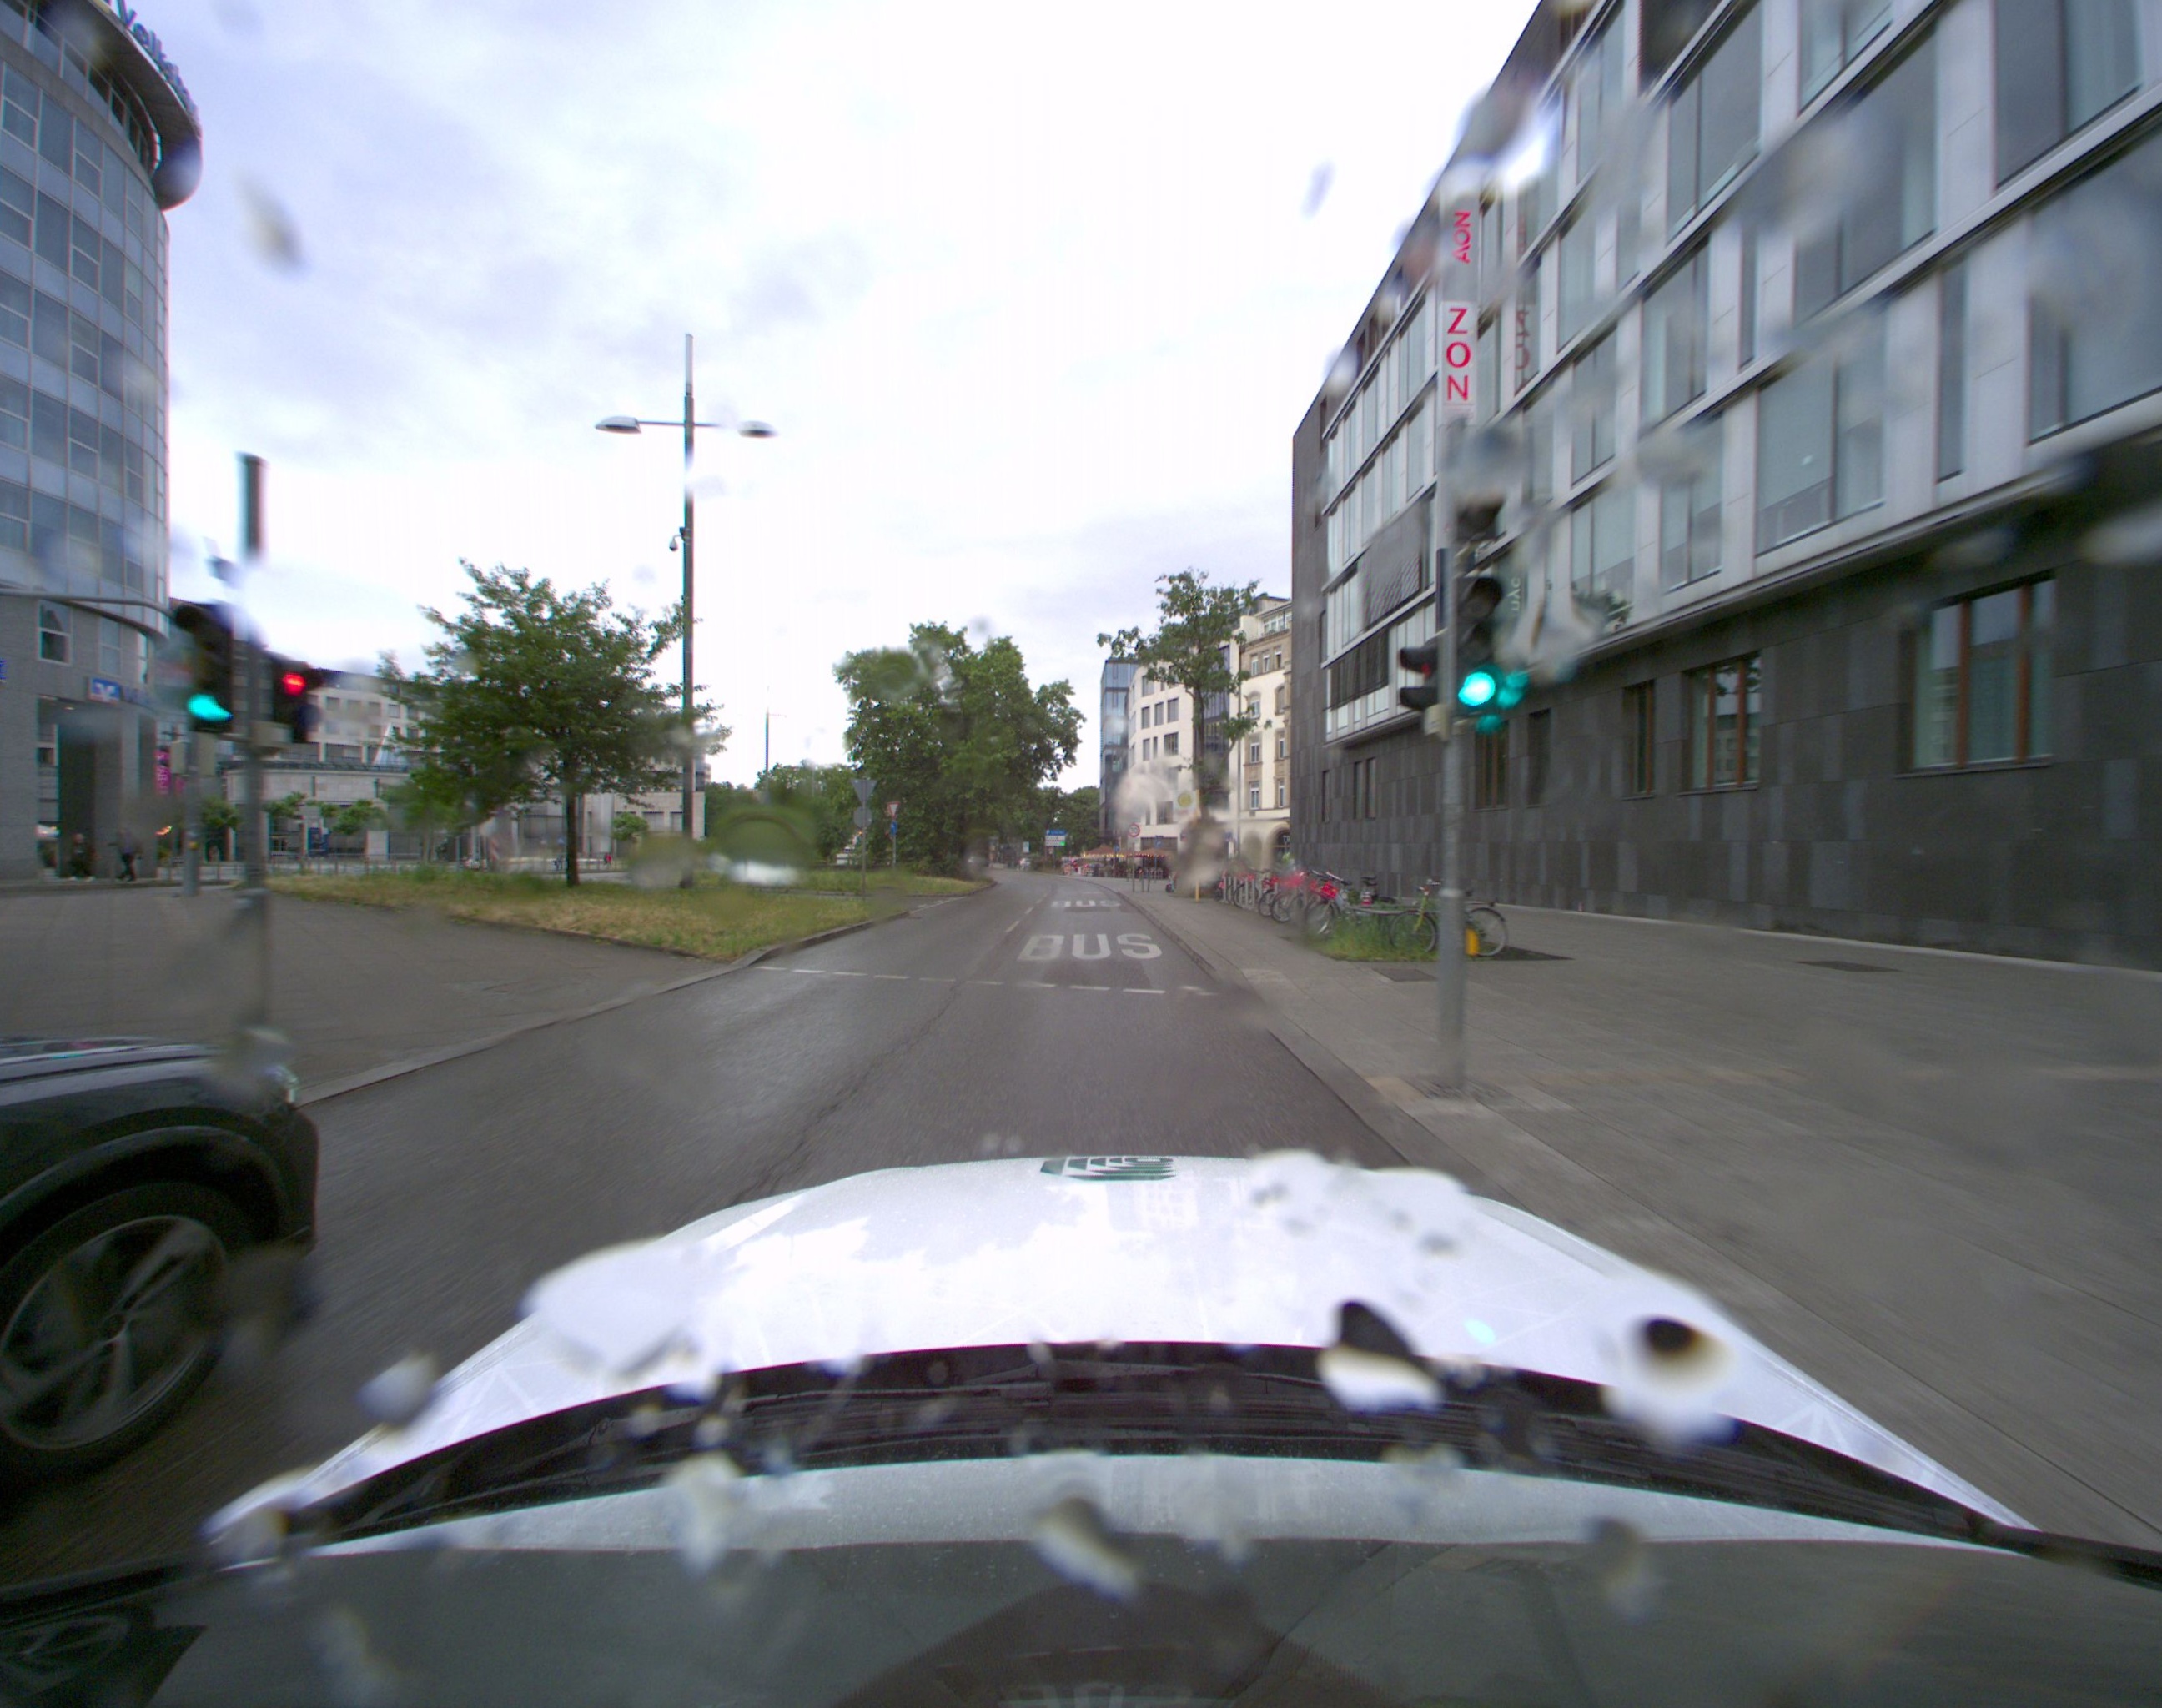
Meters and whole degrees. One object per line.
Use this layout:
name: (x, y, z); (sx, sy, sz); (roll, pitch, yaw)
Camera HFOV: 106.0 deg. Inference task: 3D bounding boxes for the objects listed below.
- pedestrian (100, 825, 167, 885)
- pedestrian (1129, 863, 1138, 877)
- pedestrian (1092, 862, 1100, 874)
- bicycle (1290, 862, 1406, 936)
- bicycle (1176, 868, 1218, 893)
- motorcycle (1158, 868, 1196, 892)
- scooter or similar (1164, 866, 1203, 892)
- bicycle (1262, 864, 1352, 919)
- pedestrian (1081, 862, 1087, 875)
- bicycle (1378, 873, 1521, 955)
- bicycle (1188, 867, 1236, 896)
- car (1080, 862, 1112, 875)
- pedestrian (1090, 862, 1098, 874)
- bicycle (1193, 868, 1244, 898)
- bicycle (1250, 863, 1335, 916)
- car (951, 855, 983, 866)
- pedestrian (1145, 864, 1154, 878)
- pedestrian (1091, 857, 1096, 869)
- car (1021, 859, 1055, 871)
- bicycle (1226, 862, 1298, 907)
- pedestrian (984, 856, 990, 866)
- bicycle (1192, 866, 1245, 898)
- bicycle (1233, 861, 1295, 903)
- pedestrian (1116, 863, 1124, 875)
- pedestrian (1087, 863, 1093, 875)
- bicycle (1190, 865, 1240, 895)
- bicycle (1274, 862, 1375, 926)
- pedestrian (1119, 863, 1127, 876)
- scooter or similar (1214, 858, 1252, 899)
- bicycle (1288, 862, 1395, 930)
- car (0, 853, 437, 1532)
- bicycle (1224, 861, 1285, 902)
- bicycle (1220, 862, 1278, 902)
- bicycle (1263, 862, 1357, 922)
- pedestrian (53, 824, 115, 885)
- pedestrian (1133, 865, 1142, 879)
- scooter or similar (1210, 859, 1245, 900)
pedestrian: (-32.522, 0.030, 27.975); (1.053, 2.014, 1.030); (0, -1, -14)
pedestrian: (4.890, 1.492, 75.861); (0.772, 1.326, 0.634); (3, -1, -5)
pedestrian: (1.652, 1.586, 90.971); (0.815, 1.326, 0.635); (3, -1, -5)
bicycle: (4.480, 0.742, 13.723); (1.728, 1.183, 0.687); (0, 0, -7)
bicycle: (5.336, 1.231, 37.584); (1.792, 1.108, 0.668); (2, -2, -7)
motorcycle: (4.771, 1.292, 40.570); (1.790, 1.140, 0.595); (2, -2, -6)
scooter or similar: (4.991, 1.214, 39.595); (1.790, 1.243, 0.595); (2, -2, -6)
bicycle: (4.855, 0.791, 17.548); (1.728, 1.140, 0.687); (0, 0, -7)
pedestrian: (0.352, 1.601, 89.275); (0.605, 1.326, 0.566); (3, -1, -5)
bicycle: (5.150, 0.818, 11.429); (1.728, 1.070, 0.687); (0, 0, -7)
bicycle: (5.297, 1.105, 32.903); (1.792, 1.108, 0.668); (2, -2, -7)
car: (2.202, 2.123, 120.175); (4.721, 1.691, 2.004); (1, 0, -1)
pedestrian: (1.503, 1.600, 91.862); (0.815, 1.326, 0.635); (3, -1, -5)
bicycle: (5.109, 1.070, 30.298); (1.791, 1.068, 0.555); (2, -2, -6)
bicycle: (4.747, 0.791, 18.327); (1.728, 1.140, 0.687); (0, 0, -7)
car: (-17.441, 0.941, 124.512); (4.294, 1.666, 1.963); (0, -1, 21)
pedestrian: (6.730, 1.711, 80.249); (0.630, 1.326, 0.630); (3, -1, -25)
pedestrian: (2.062, 1.465, 134.569); (0.621, 1.933, 0.789); (1, -1, 6)
car: (-6.203, 1.579, 117.575); (4.721, 1.691, 2.004); (1, 0, -1)
bicycle: (4.753, 0.803, 21.438); (1.704, 1.140, 0.687); (0, -2, -7)
pedestrian: (-15.670, 1.229, 135.677); (0.718, 1.702, 0.619); (0, -1, 7)
bicycle: (4.962, 1.014, 29.435); (1.791, 1.068, 0.555); (2, -2, -6)
bicycle: (4.984, 0.761, 22.242); (1.533, 1.140, 0.687); (0, -2, -7)
pedestrian: (4.367, 1.735, 91.746); (0.815, 1.326, 0.635); (3, -1, -5)
pedestrian: (0.999, 1.631, 89.328); (0.605, 1.326, 0.566); (3, -1, -5)
bicycle: (5.086, 0.986, 30.931); (1.791, 1.068, 0.555); (2, -2, -6)
bicycle: (4.687, 0.760, 15.707); (1.728, 1.183, 0.687); (0, 0, -7)
pedestrian: (4.681, 1.729, 90.861); (0.815, 1.326, 0.635); (3, -1, -5)
scooter or similar: (4.671, 0.751, 25.045); (1.105, 1.258, 0.302); (0, -2, -8)
bicycle: (4.744, 0.748, 14.854); (1.728, 1.183, 0.687); (0, 0, -7)
car: (-3.342, 0.741, 0.837); (1.855, 1.518, 4.344); (0, 0, 0)
bicycle: (4.895, 0.785, 23.017); (1.533, 1.140, 0.687); (0, -2, -7)
bicycle: (4.928, 0.812, 23.888); (1.533, 1.140, 0.661); (0, -2, -7)
bicycle: (4.684, 0.767, 16.685); (1.728, 1.183, 0.687); (0, 0, -7)
pedestrian: (-33.736, 0.029, 27.574); (0.850, 2.014, 1.030); (0, -1, -14)
pedestrian: (5.706, 1.813, 82.222); (0.630, 1.326, 0.630); (3, -1, -25)
scooter or similar: (4.570, 0.794, 25.403); (1.059, 1.258, 0.302); (0, -2, -8)
